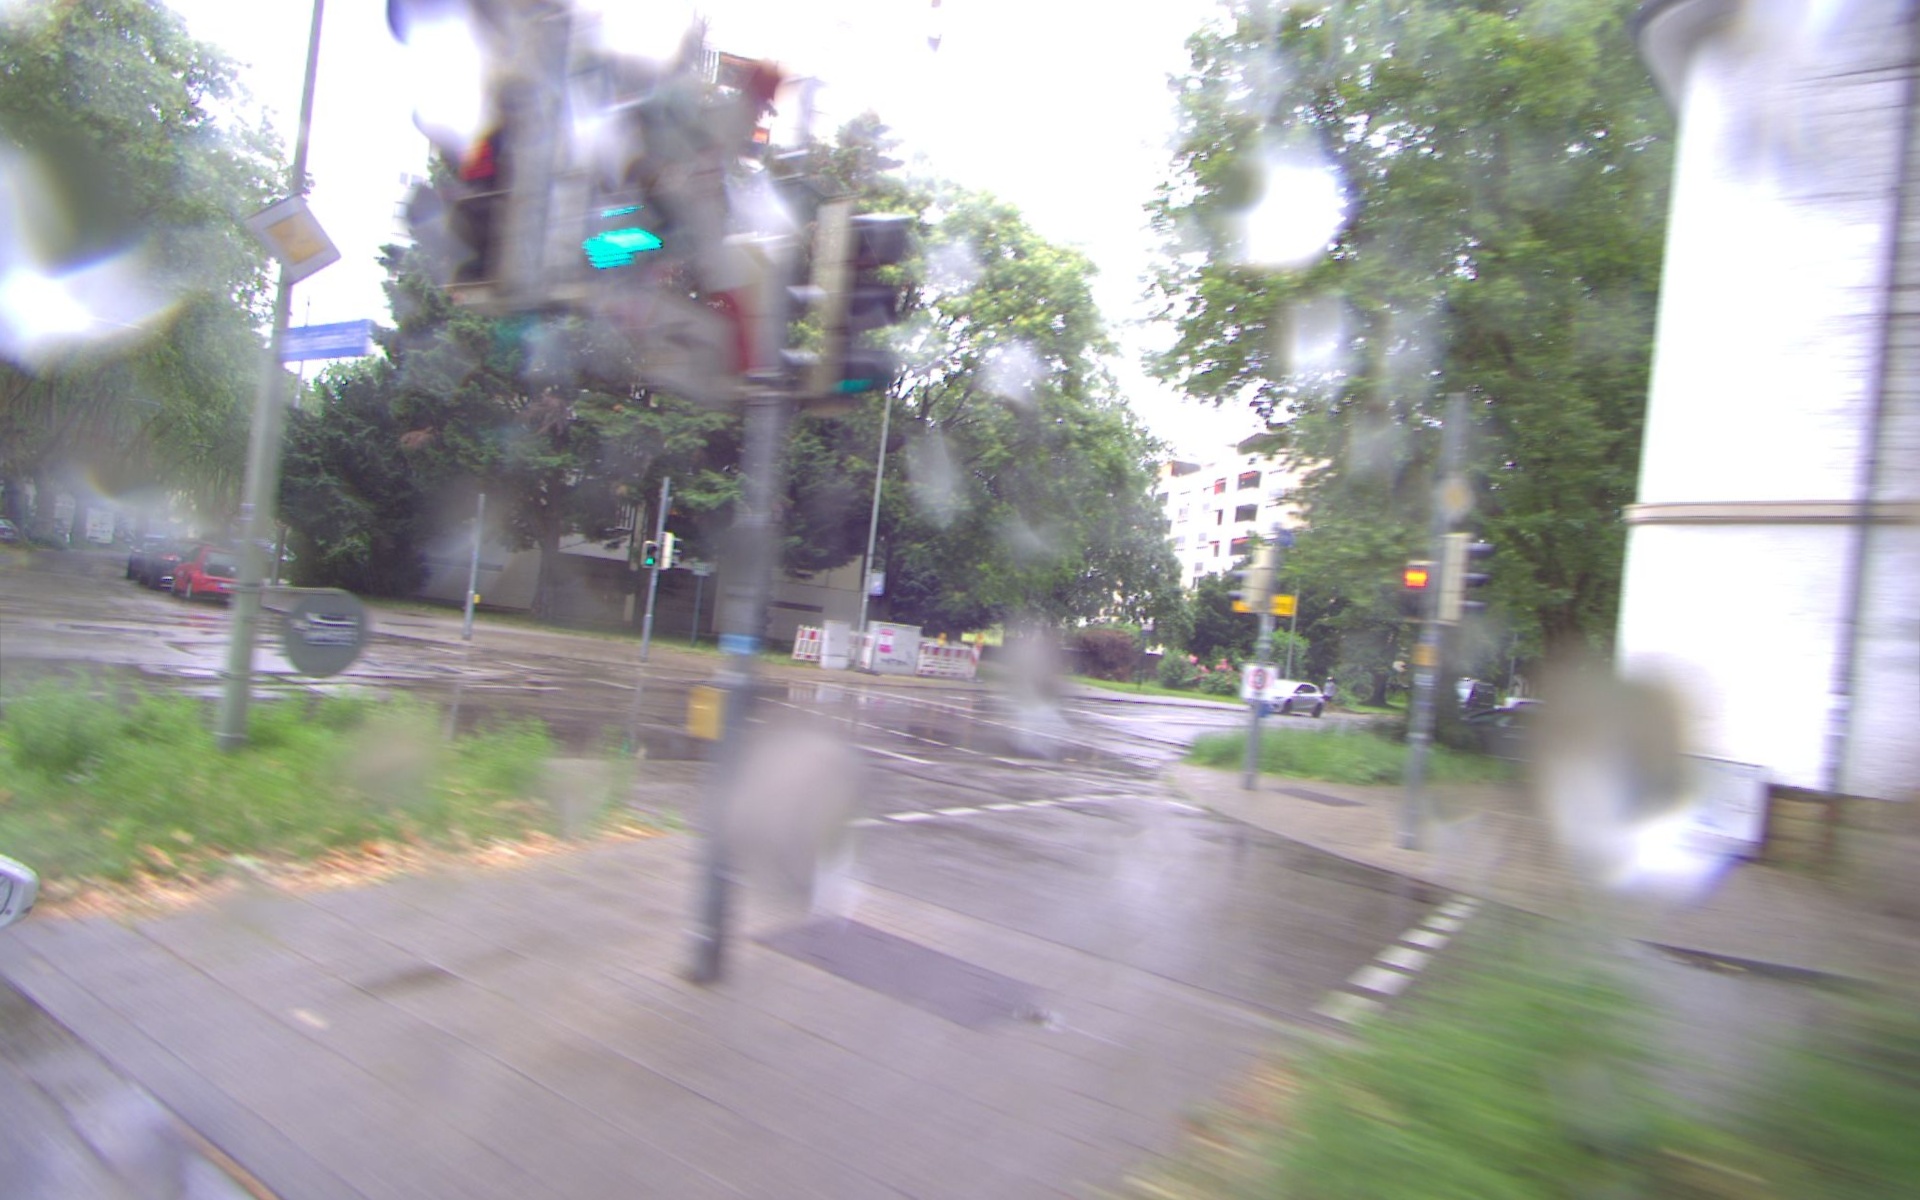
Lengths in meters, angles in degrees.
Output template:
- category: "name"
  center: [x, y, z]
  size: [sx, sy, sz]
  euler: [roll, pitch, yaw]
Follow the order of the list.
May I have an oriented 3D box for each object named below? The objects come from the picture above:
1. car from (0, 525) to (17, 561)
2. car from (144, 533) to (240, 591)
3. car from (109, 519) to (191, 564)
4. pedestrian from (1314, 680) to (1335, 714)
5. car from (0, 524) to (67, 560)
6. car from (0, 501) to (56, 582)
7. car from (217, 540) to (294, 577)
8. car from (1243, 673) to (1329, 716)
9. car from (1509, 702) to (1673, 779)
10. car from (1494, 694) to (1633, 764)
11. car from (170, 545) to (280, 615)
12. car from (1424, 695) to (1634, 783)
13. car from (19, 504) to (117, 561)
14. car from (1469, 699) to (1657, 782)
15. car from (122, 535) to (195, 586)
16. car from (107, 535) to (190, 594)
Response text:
- category: "car"
  center: [-43.906, -2.735, 43.818]
  size: [1.974, 1.503, 3.979]
  euler: [5, -2, 44]
- category: "car"
  center: [-23.591, -1.179, 30.861]
  size: [1.779, 1.364, 3.879]
  euler: [9, -2, -44]
- category: "car"
  center: [-65.517, -4.697, 81.392]
  size: [4.683, 2.983, 2.001]
  euler: [6, -1, 0]
- category: "pedestrian"
  center: [17.898, 4.762, 49.352]
  size: [0.563, 1.556, 0.640]
  euler: [7, -1, -40]
- category: "car"
  center: [-51.887, -3.296, 55.302]
  size: [1.974, 1.565, 3.979]
  euler: [5, -2, 44]
- category: "car"
  center: [-20.605, -1.385, 19.788]
  size: [1.974, 1.503, 3.979]
  euler: [5, -2, 44]
- category: "car"
  center: [-48.849, -2.854, 69.789]
  size: [1.843, 1.984, 3.860]
  euler: [5, -2, 36]
- category: "car"
  center: [13.933, 4.048, 42.924]
  size: [1.829, 1.473, 3.978]
  euler: [5, -2, 45]
- category: "car"
  center: [16.619, 3.667, 26.571]
  size: [3.334, 1.454, 1.606]
  euler: [5, -2, 45]
- category: "car"
  center: [18.204, 3.869, 30.398]
  size: [3.221, 1.628, 1.626]
  euler: [5, -2, 45]
- category: "car"
  center: [-20.296, -0.586, 27.728]
  size: [1.788, 1.516, 3.950]
  euler: [8, -2, -44]
- category: "car"
  center: [12.974, 3.135, 23.067]
  size: [1.741, 1.399, 3.771]
  euler: [8, -2, -44]
- category: "car"
  center: [-56.865, -4.283, 64.168]
  size: [4.680, 2.983, 2.043]
  euler: [6, -1, 11]
- category: "car"
  center: [14.802, 3.417, 24.817]
  size: [3.657, 1.424, 1.475]
  euler: [5, -2, 45]
- category: "car"
  center: [-34.303, -1.690, 43.020]
  size: [1.917, 1.827, 3.951]
  euler: [8, -2, -44]
- category: "car"
  center: [-28.506, -1.265, 35.285]
  size: [1.778, 1.747, 3.951]
  euler: [7, -2, -44]
